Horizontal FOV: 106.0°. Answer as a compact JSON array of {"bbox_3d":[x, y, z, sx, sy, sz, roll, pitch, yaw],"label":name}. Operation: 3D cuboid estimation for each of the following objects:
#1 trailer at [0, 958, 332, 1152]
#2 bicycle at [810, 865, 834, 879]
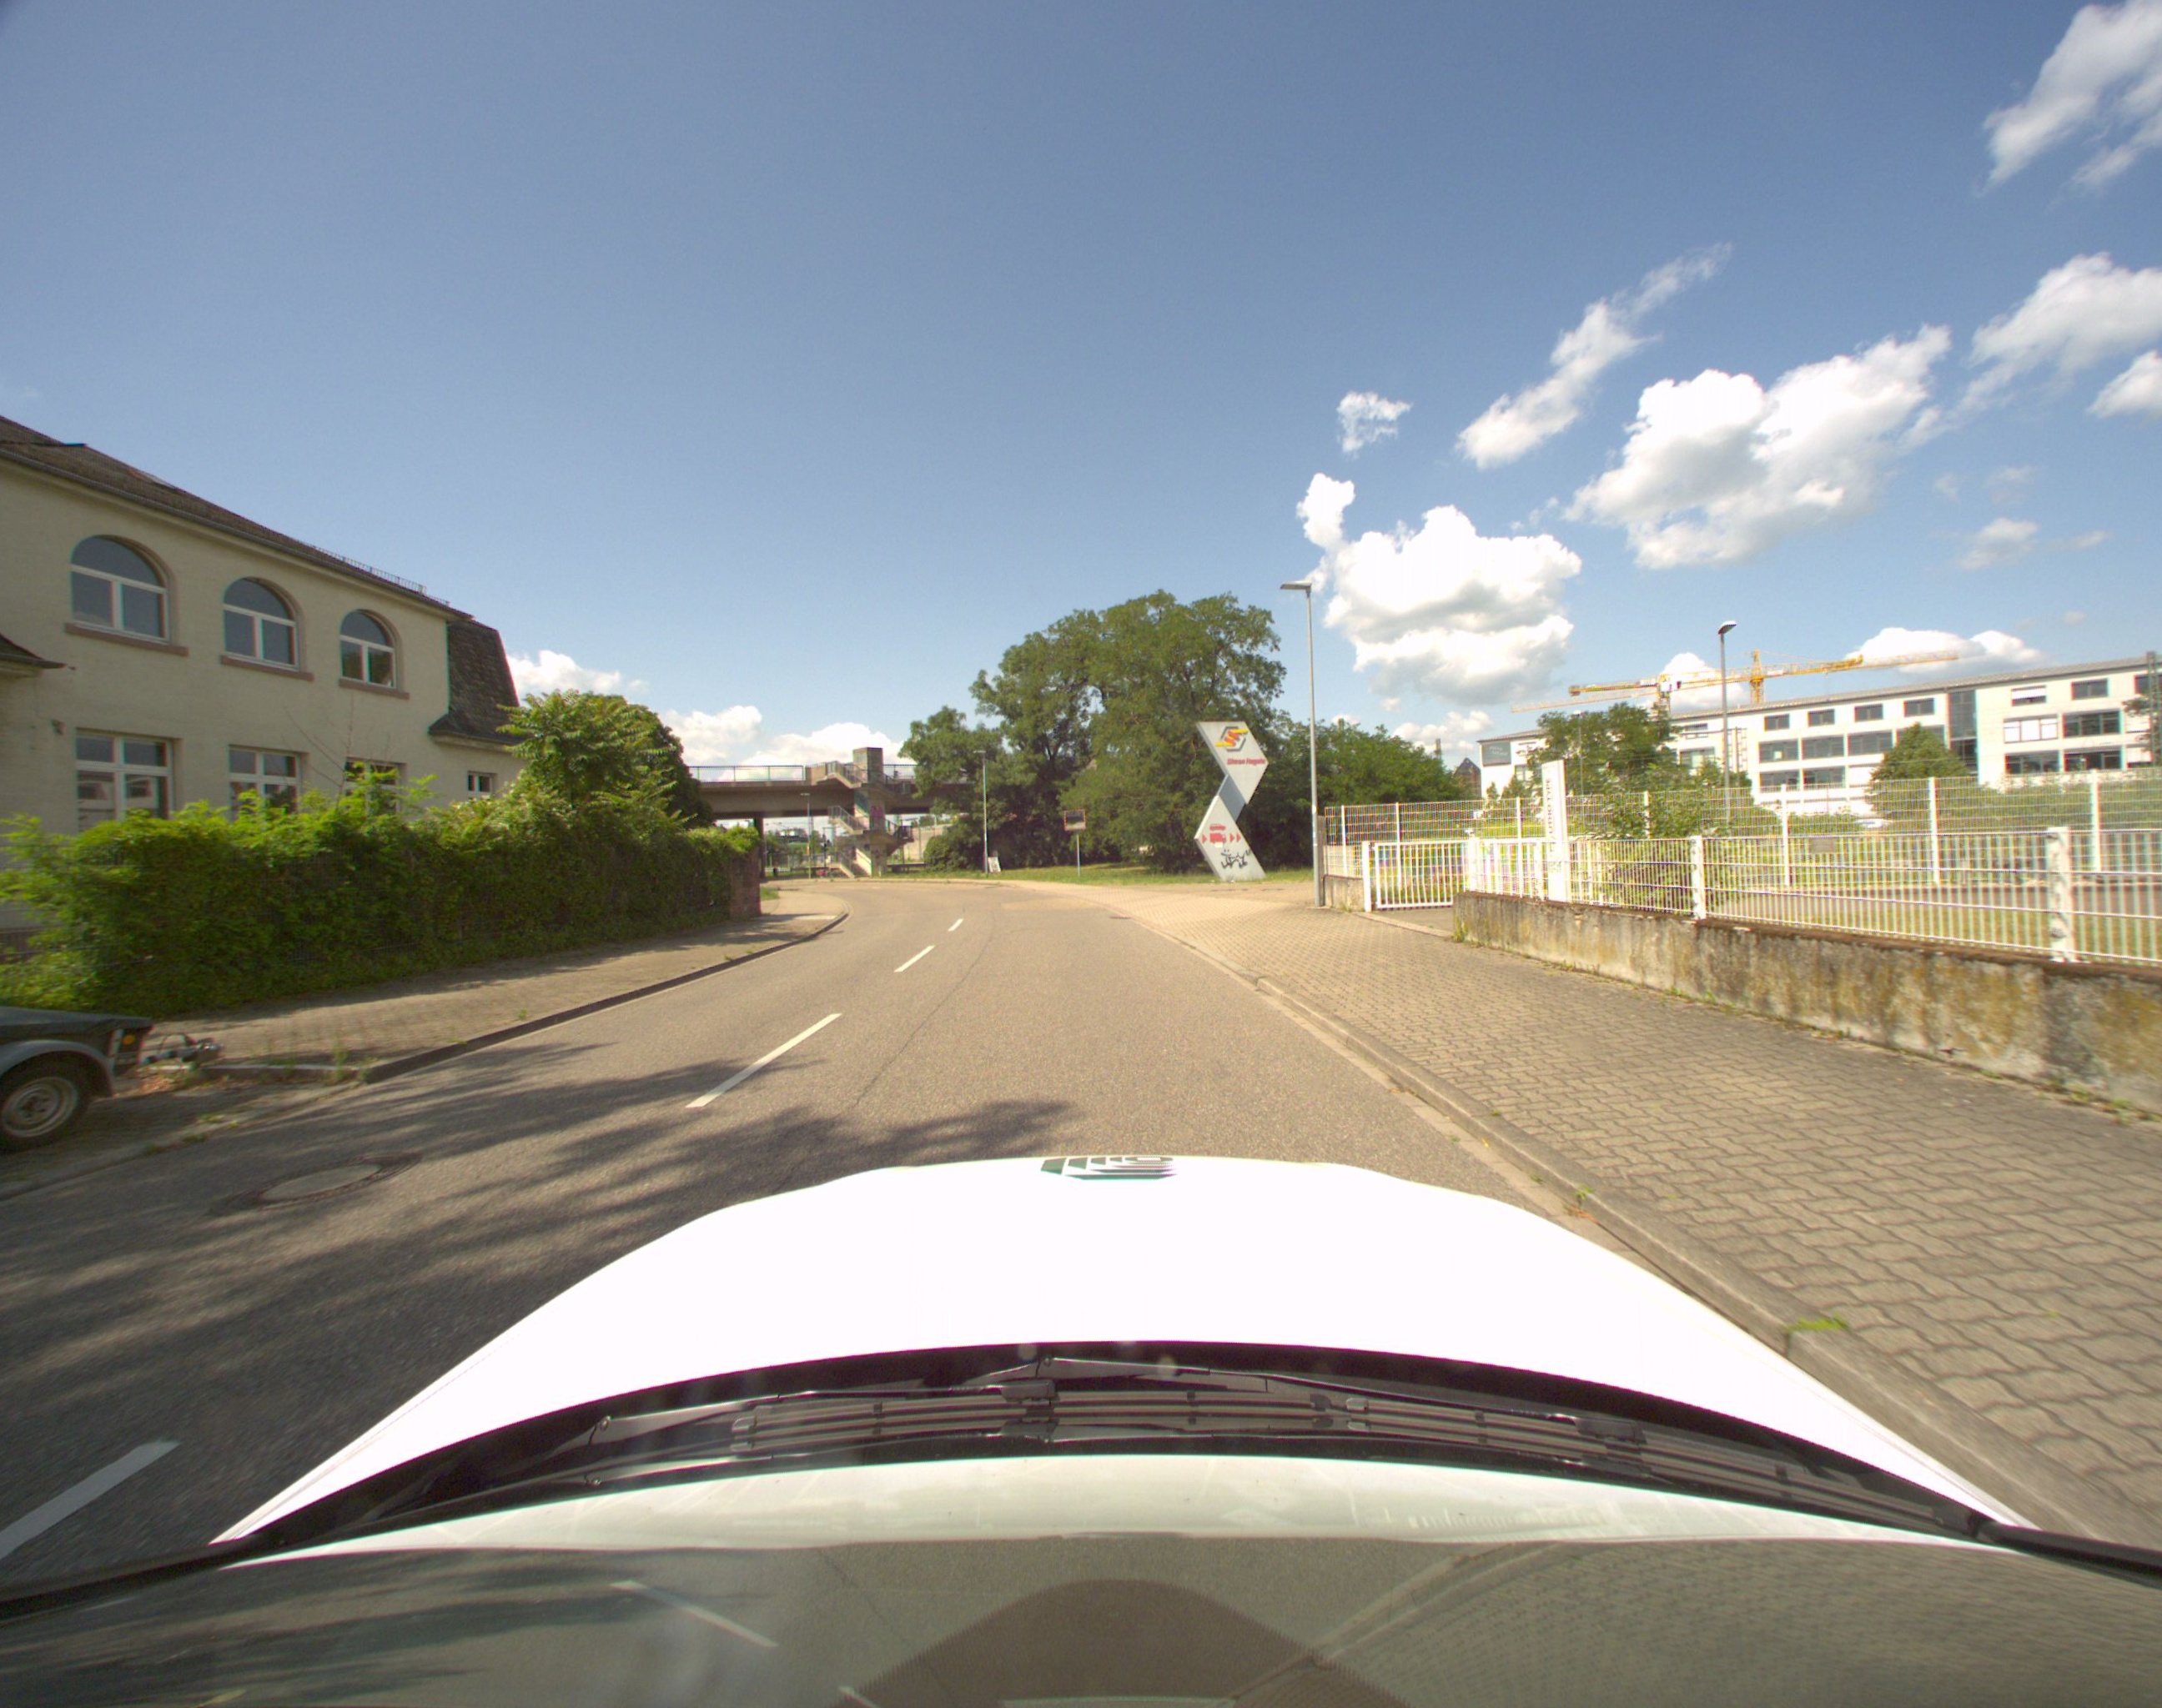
[{"bbox_3d":[-7.170,1.338,5.709,1.458,0.851,2.468,2,0,3],"label":"trailer"},{"bbox_3d":[-21.550,1.506,67.763,2.163,1.108,0.649,-3,1,34],"label":"bicycle"}]
